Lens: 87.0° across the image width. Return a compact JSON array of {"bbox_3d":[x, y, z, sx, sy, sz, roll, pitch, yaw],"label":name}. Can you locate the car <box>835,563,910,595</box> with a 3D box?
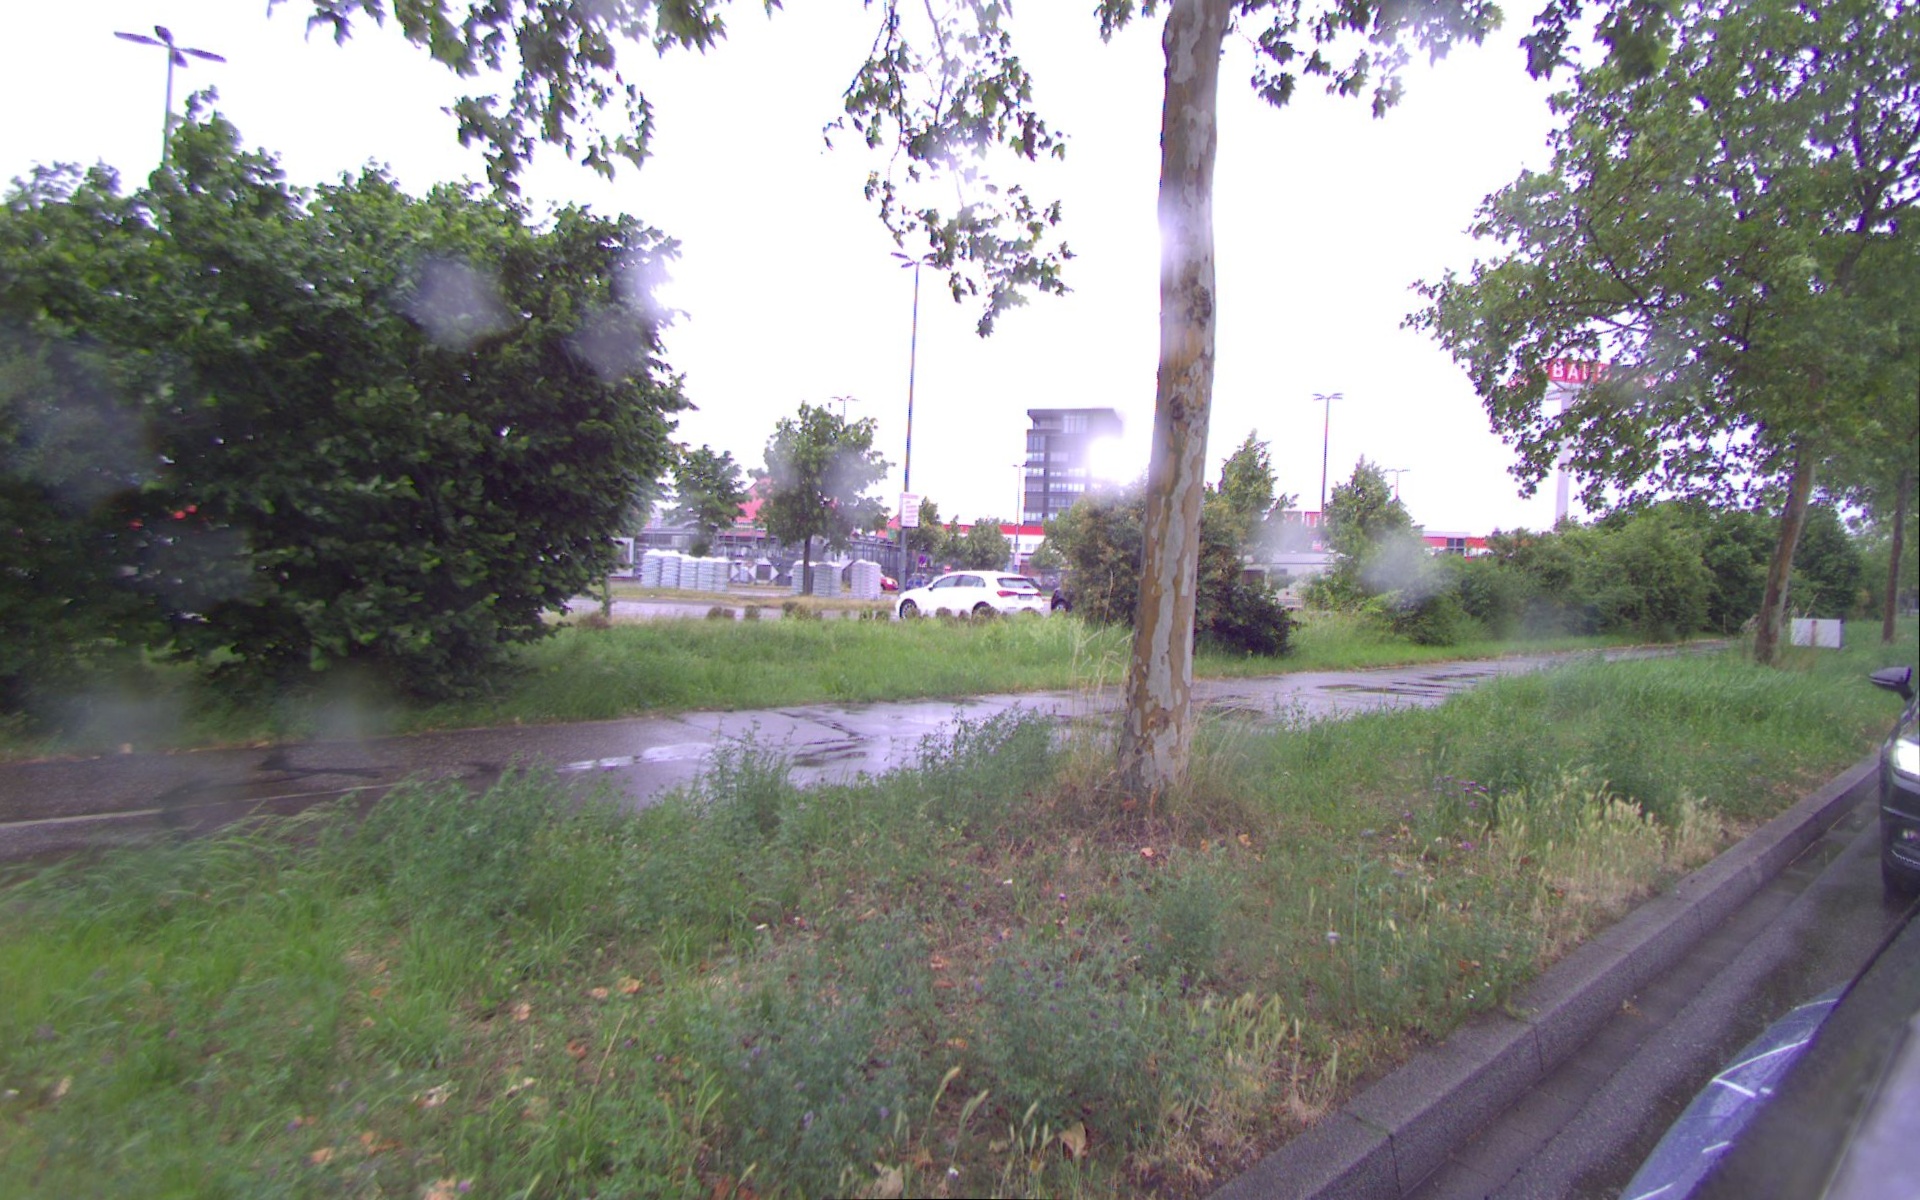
[{"bbox_3d":[-4.986,-1.191,58.164,3.937,1.749,1.885,0,0,12],"label":"car"}]

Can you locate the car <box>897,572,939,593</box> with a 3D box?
[{"bbox_3d":[-3.224,-1.406,79.205,1.905,1.571,4.249,2,2,18],"label":"car"}]

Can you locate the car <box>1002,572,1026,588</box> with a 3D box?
[{"bbox_3d":[6.000,-2.284,112.500,1.973,1.697,4.257,2,2,13],"label":"car"}]

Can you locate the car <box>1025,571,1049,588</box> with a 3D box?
[{"bbox_3d":[8.495,-2.292,111.900,1.973,1.697,4.257,2,2,13],"label":"car"}]

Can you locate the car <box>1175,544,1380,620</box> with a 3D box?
[{"bbox_3d":[10.949,-0.705,35.285,6.399,2.392,2.357,3,2,41],"label":"car"}]

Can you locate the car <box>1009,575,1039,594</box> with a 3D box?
[{"bbox_3d":[6.026,-1.453,94.724,1.973,1.697,4.255,2,2,14],"label":"car"}]

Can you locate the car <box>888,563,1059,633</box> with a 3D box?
[{"bbox_3d":[0.283,-0.111,25.940,1.899,1.571,4.262,0,3,-45],"label":"car"}]

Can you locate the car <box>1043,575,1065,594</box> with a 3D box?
[{"bbox_3d":[9.181,-1.508,98.522,1.969,1.697,4.265,2,2,8],"label":"car"}]

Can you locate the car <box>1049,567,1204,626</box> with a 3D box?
[{"bbox_3d":[4.925,-0.153,30.296,1.899,1.571,4.262,0,3,-45],"label":"car"}]

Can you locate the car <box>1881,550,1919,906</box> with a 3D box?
[{"bbox_3d":[6.554,0.579,5.616,4.548,1.625,1.768,0,0,-43],"label":"car"}]

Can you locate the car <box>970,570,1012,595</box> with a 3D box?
[{"bbox_3d":[2.106,-1.189,67.907,1.903,1.571,4.254,2,2,15],"label":"car"}]
